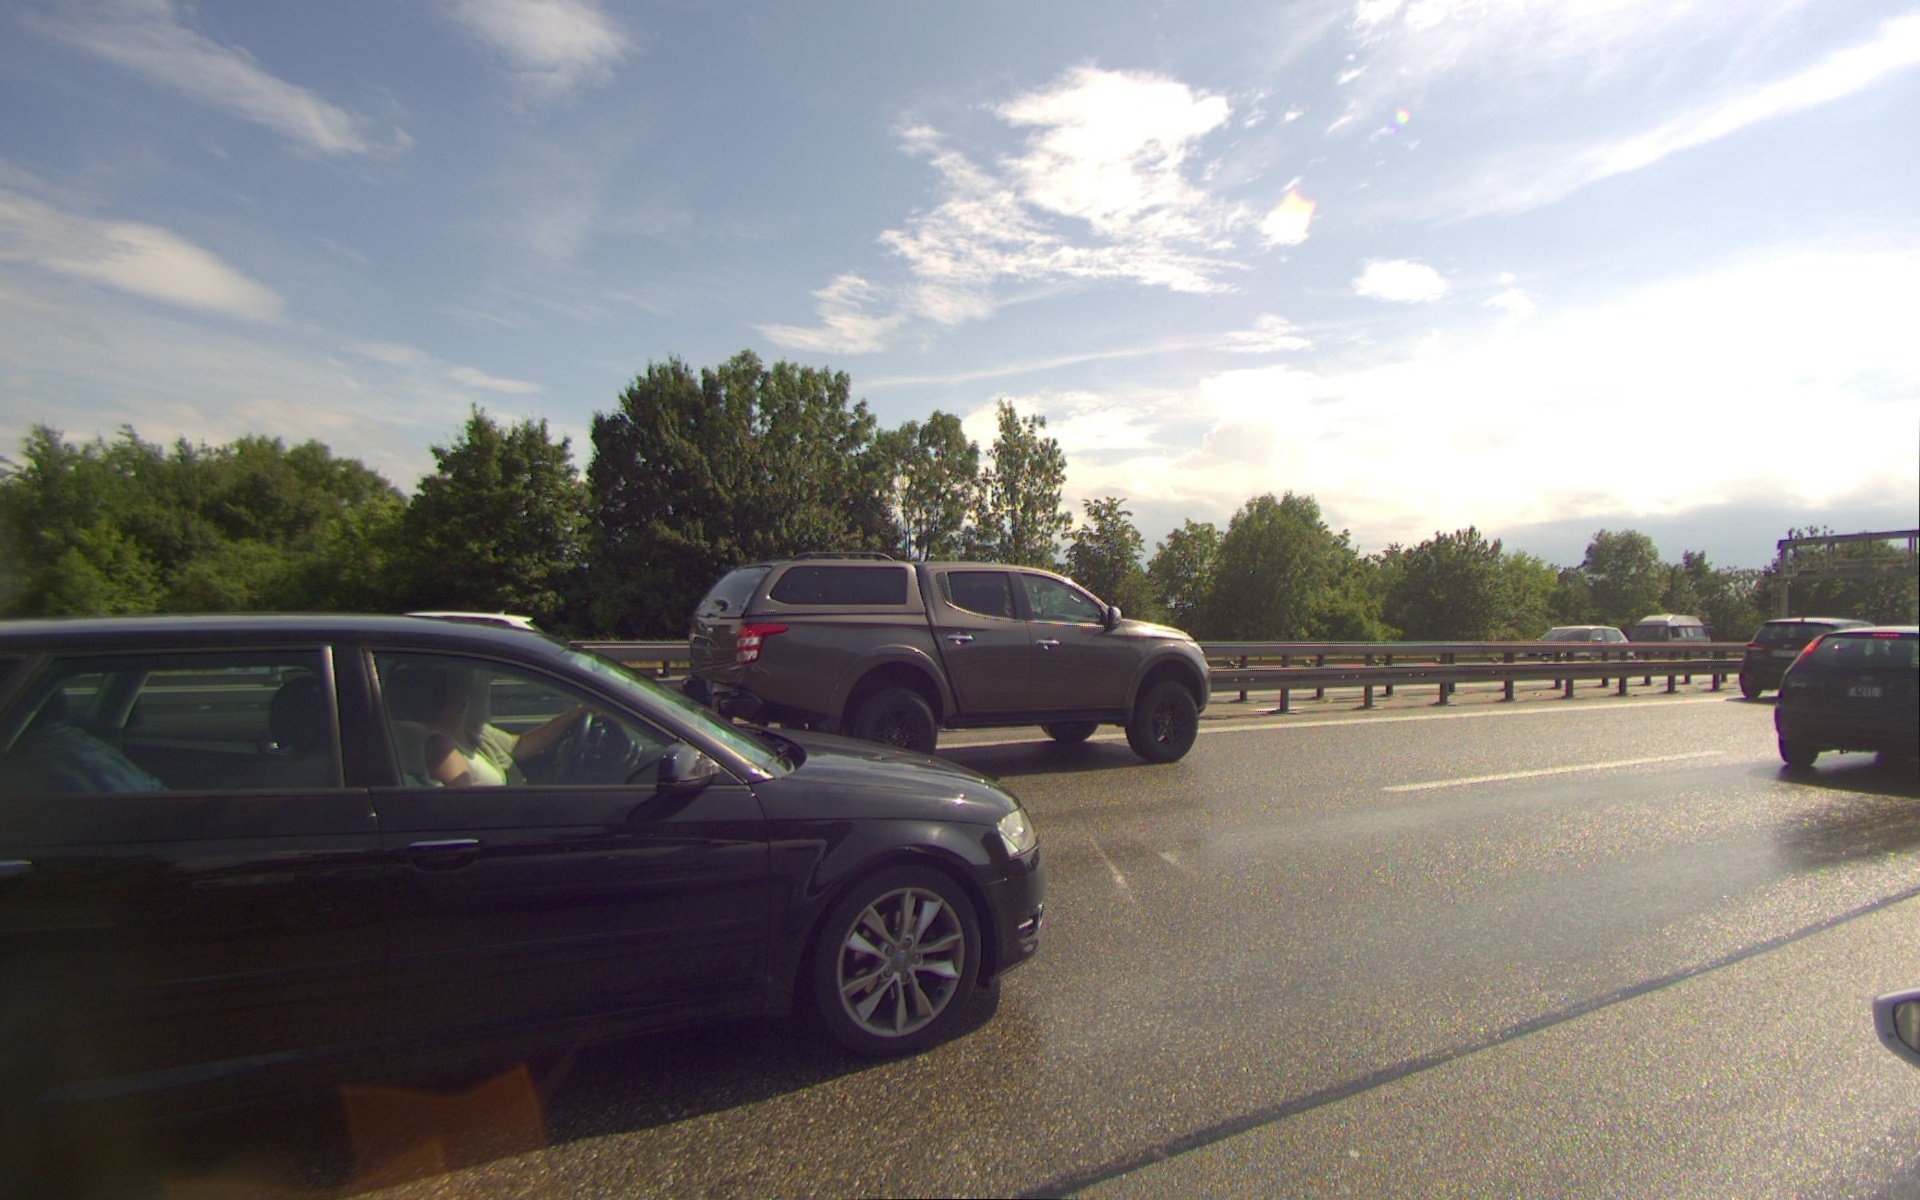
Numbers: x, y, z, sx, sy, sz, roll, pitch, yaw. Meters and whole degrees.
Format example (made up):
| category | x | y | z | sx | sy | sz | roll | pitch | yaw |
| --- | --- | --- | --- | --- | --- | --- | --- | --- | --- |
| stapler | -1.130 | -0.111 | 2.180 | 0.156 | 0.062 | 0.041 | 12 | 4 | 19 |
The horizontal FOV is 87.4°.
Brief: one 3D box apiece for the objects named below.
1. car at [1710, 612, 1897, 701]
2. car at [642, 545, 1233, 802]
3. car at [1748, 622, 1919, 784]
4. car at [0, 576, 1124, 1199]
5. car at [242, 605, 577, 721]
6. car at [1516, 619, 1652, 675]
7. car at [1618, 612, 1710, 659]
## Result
| category | x | y | z | sx | sy | sz | roll | pitch | yaw |
| --- | --- | --- | --- | --- | --- | --- | --- | --- | --- |
| car | 16.992 | 1.082 | 20.204 | 3.872 | 1.599 | 1.773 | 1 | 0 | -32 |
| car | -0.045 | 0.584 | 9.436 | 5.354 | 1.869 | 1.798 | 1 | 0 | -30 |
| car | 10.287 | 0.996 | 10.609 | 3.953 | 1.462 | 1.750 | 1 | 0 | -30 |
| car | -1.585 | 0.691 | 3.394 | 4.004 | 1.452 | 1.743 | 1 | 0 | -29 |
| car | -7.761 | 0.838 | 14.375 | 3.957 | 1.409 | 1.851 | 2 | 0 | -33 |
| car | 17.803 | 1.316 | 28.622 | 3.953 | 1.461 | 1.659 | 1 | -1 | -30 |
| car | 32.581 | 1.616 | 46.478 | 4.315 | 2.040 | 1.982 | 1 | 0 | -33 |
